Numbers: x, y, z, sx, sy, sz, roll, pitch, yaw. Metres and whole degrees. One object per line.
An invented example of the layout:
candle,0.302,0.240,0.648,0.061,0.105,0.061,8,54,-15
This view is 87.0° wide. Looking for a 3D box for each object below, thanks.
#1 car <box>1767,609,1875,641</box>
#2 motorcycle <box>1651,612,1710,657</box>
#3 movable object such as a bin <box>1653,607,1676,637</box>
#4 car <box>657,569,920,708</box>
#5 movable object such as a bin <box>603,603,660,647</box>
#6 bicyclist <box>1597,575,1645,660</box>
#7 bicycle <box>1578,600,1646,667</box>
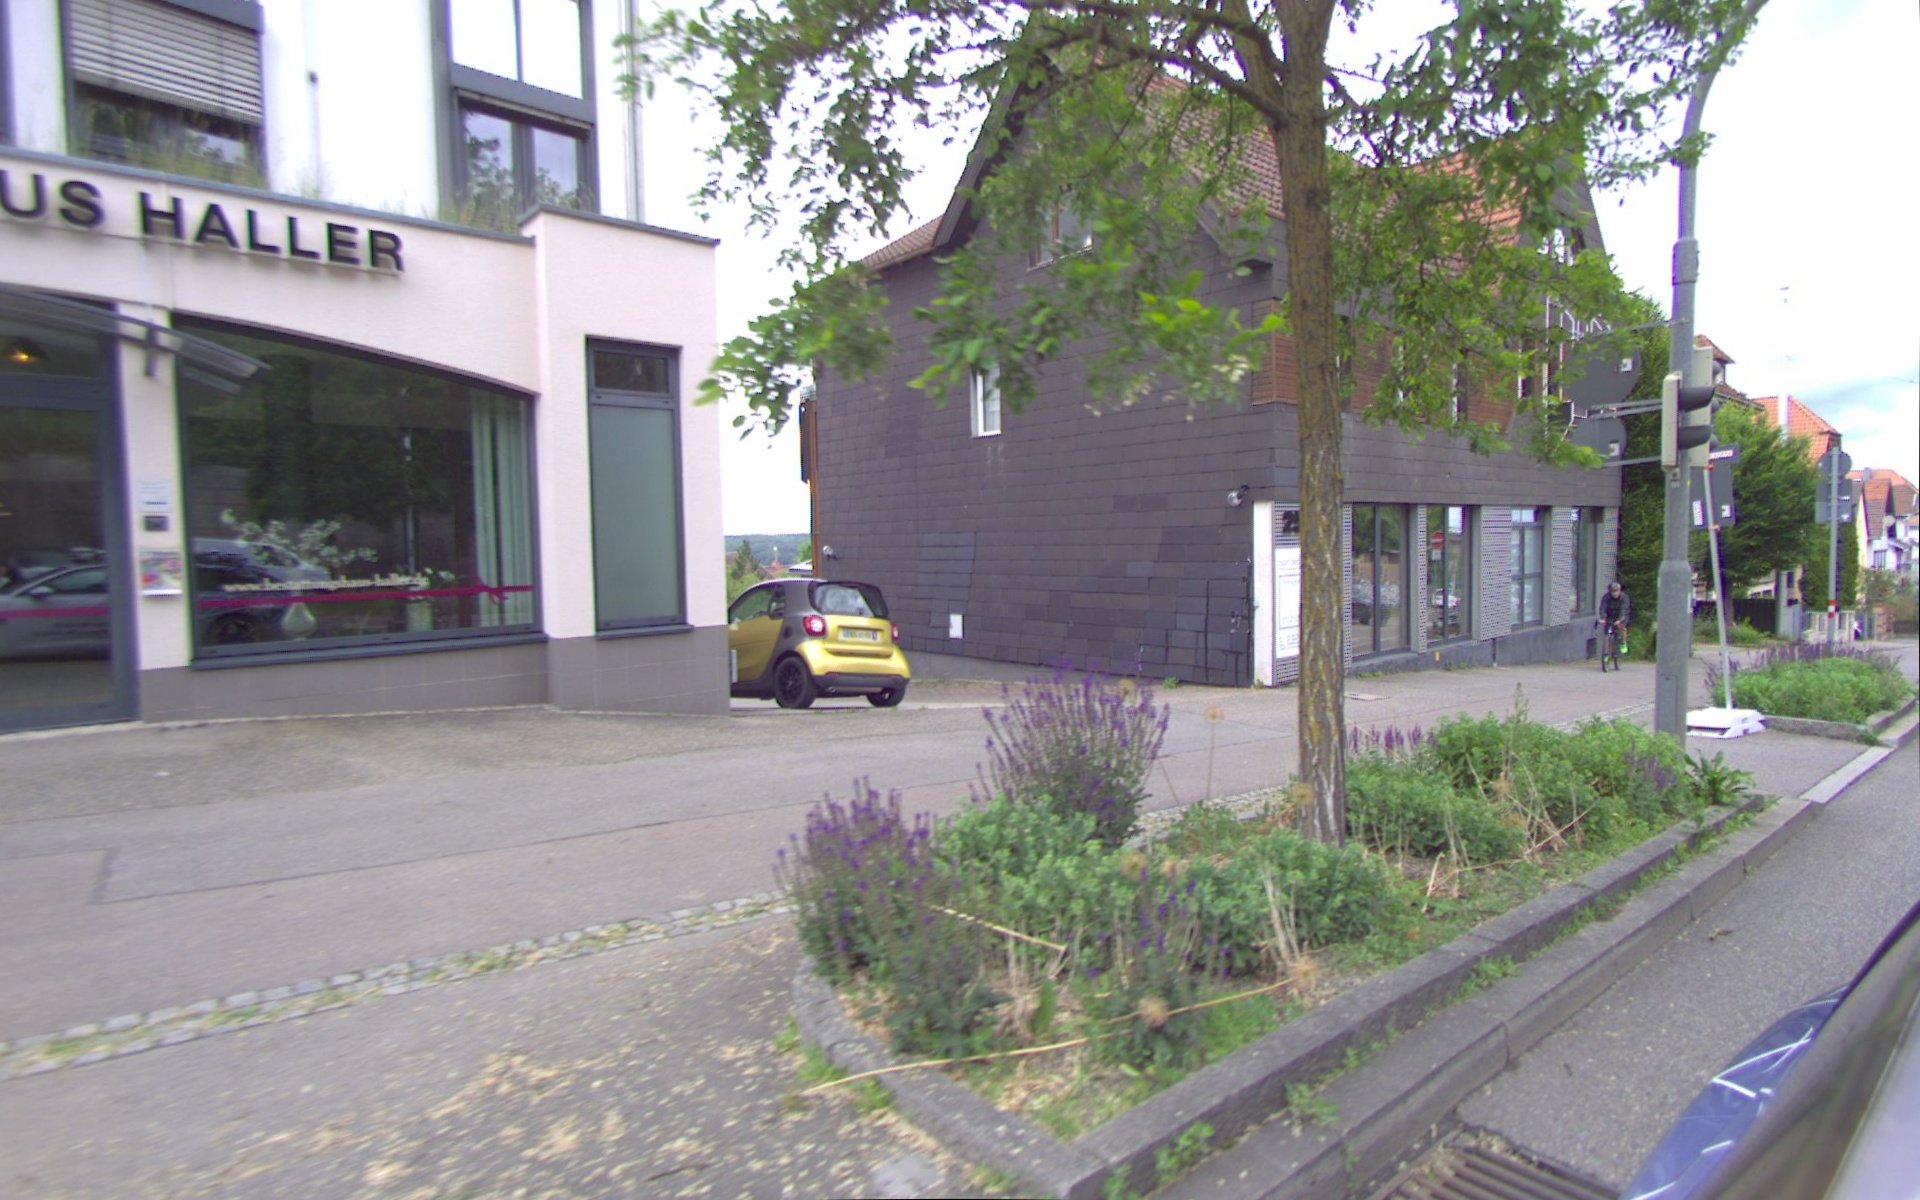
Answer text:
car,42.612,1.249,50.202,3.768,1.423,1.529,-4,-3,32
motorcycle,18.405,0.869,25.835,1.931,1.064,0.697,1,2,-39
movable object such as a bin,24.232,0.750,34.810,0.551,0.951,0.453,1,4,-40
car,-2.157,0.540,12.411,2.985,1.484,1.642,-5,-6,40
movable object such as a bin,-12.278,0.912,37.748,1.307,1.480,2.567,-3,2,-34
bicyclist,13.200,0.342,20.199,0.930,1.654,0.539,1,0,-40
bicycle,13.118,0.663,20.343,2.003,1.278,0.572,2,1,-41
